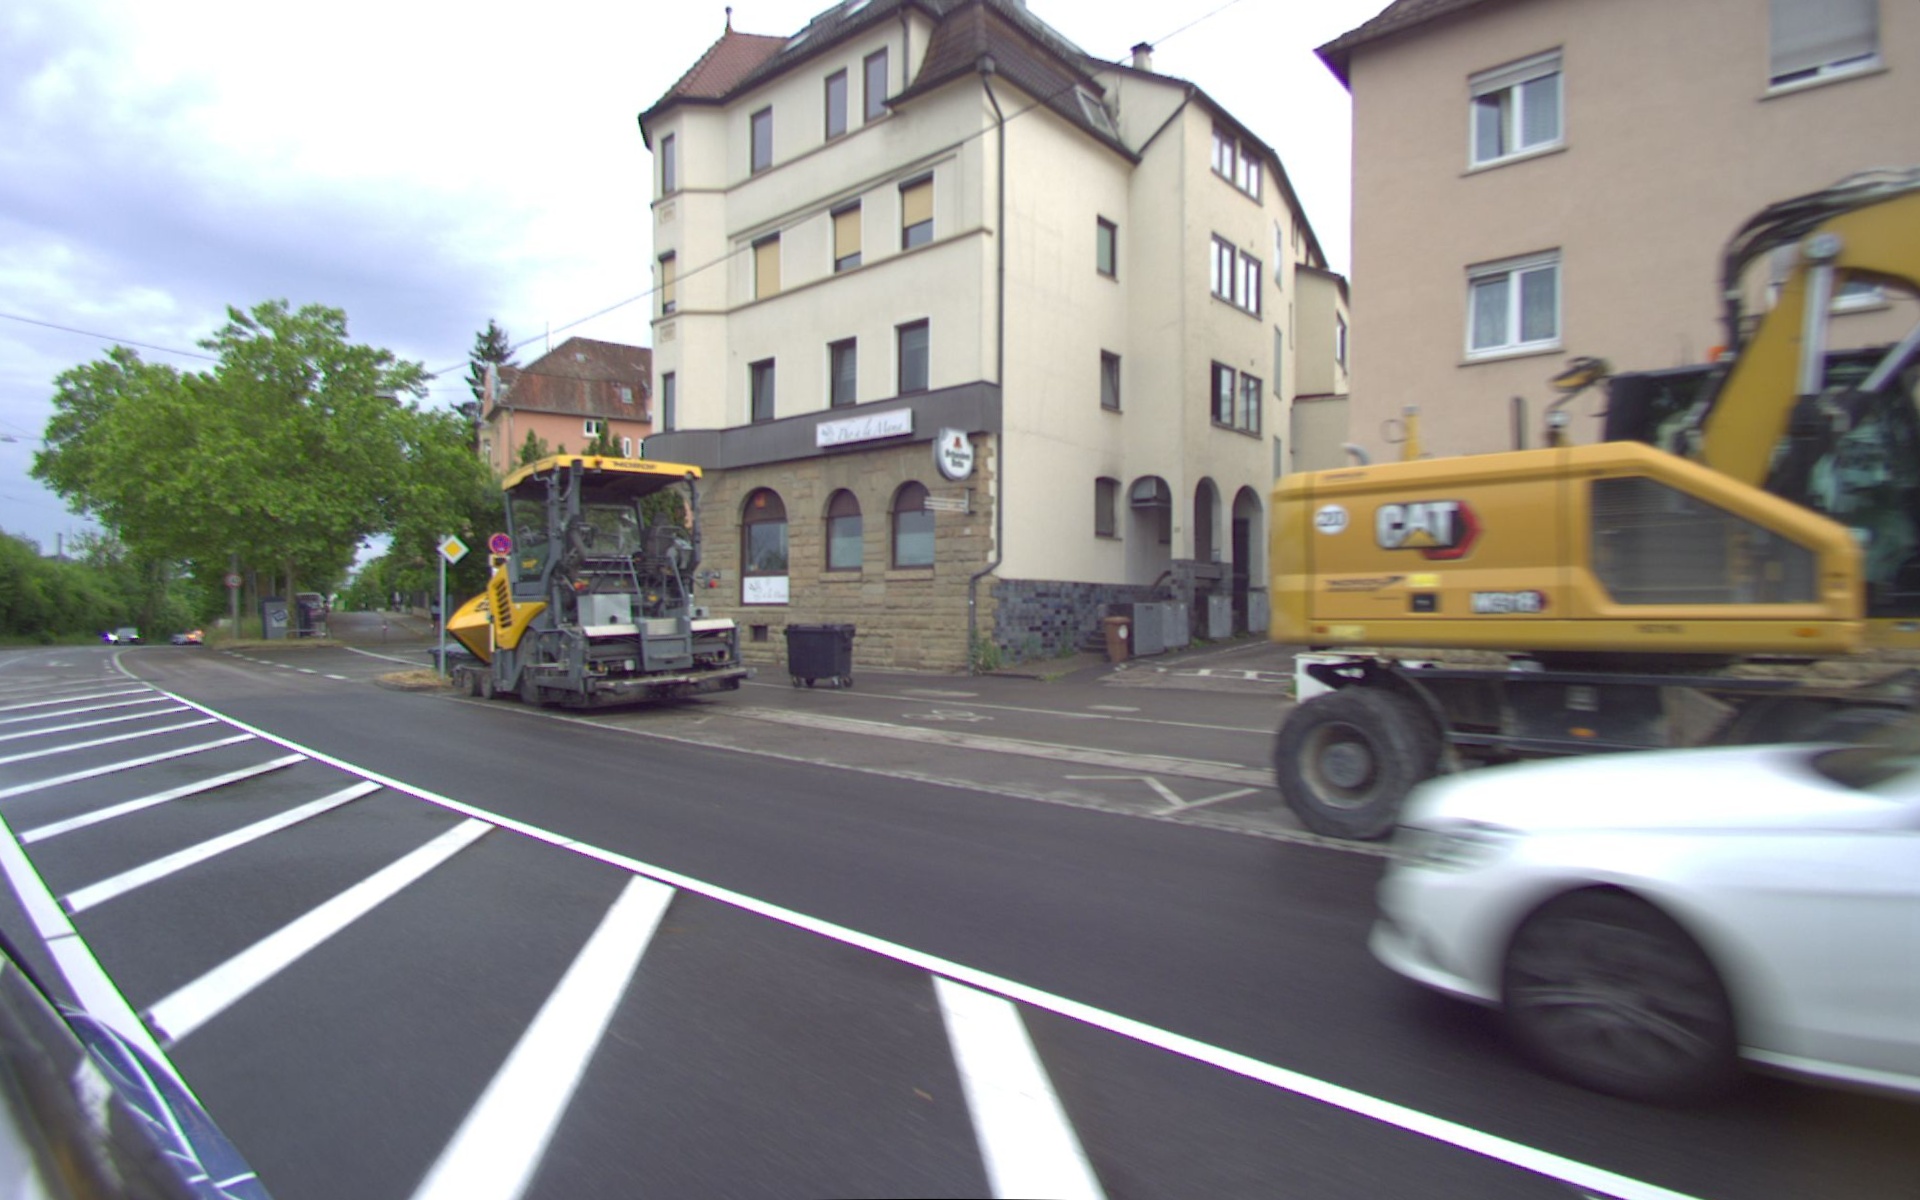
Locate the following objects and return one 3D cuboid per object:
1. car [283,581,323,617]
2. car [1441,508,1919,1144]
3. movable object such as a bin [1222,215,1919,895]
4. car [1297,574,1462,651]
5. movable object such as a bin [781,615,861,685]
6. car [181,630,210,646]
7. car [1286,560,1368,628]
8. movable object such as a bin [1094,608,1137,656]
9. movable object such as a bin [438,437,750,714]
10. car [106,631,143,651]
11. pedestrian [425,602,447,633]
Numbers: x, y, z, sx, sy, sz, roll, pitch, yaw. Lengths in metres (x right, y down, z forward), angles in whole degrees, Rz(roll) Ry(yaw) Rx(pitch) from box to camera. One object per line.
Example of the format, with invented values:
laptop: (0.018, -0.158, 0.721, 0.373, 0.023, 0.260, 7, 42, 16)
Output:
car: (-40.879, -0.013, 63.024, 1.966, 2.029, 4.640, -2, -1, -32)
car: (3.889, 0.548, 2.456, 4.616, 1.567, 1.909, 0, 1, 40)
movable object such as a bin: (4.396, -0.168, 6.841, 4.125, 3.197, 2.840, -3, -1, 43)
car: (8.858, 0.233, 21.227, 1.853, 1.453, 3.943, -3, -1, 44)
movable object such as a bin: (-2.586, 0.924, 18.896, 1.193, 1.231, 0.889, -3, -1, 16)
car: (-70.586, 3.499, 93.485, 2.043, 1.363, 4.724, -2, -1, -36)
car: (10.346, -0.155, 28.365, 1.883, 1.684, 3.969, -3, -1, 23)
movable object such as a bin: (3.309, 0.668, 21.480, 0.646, 0.981, 0.616, -3, -1, 37)
movable object such as a bin: (-6.449, -0.253, 17.285, 2.742, 3.885, 5.992, -1, -1, -44)
car: (-66.360, 3.253, 80.454, 1.967, 1.453, 4.009, -2, -1, -35)
pedestrian: (-23.194, 0.774, 44.764, 0.780, 1.365, 0.793, -2, -1, -32)
